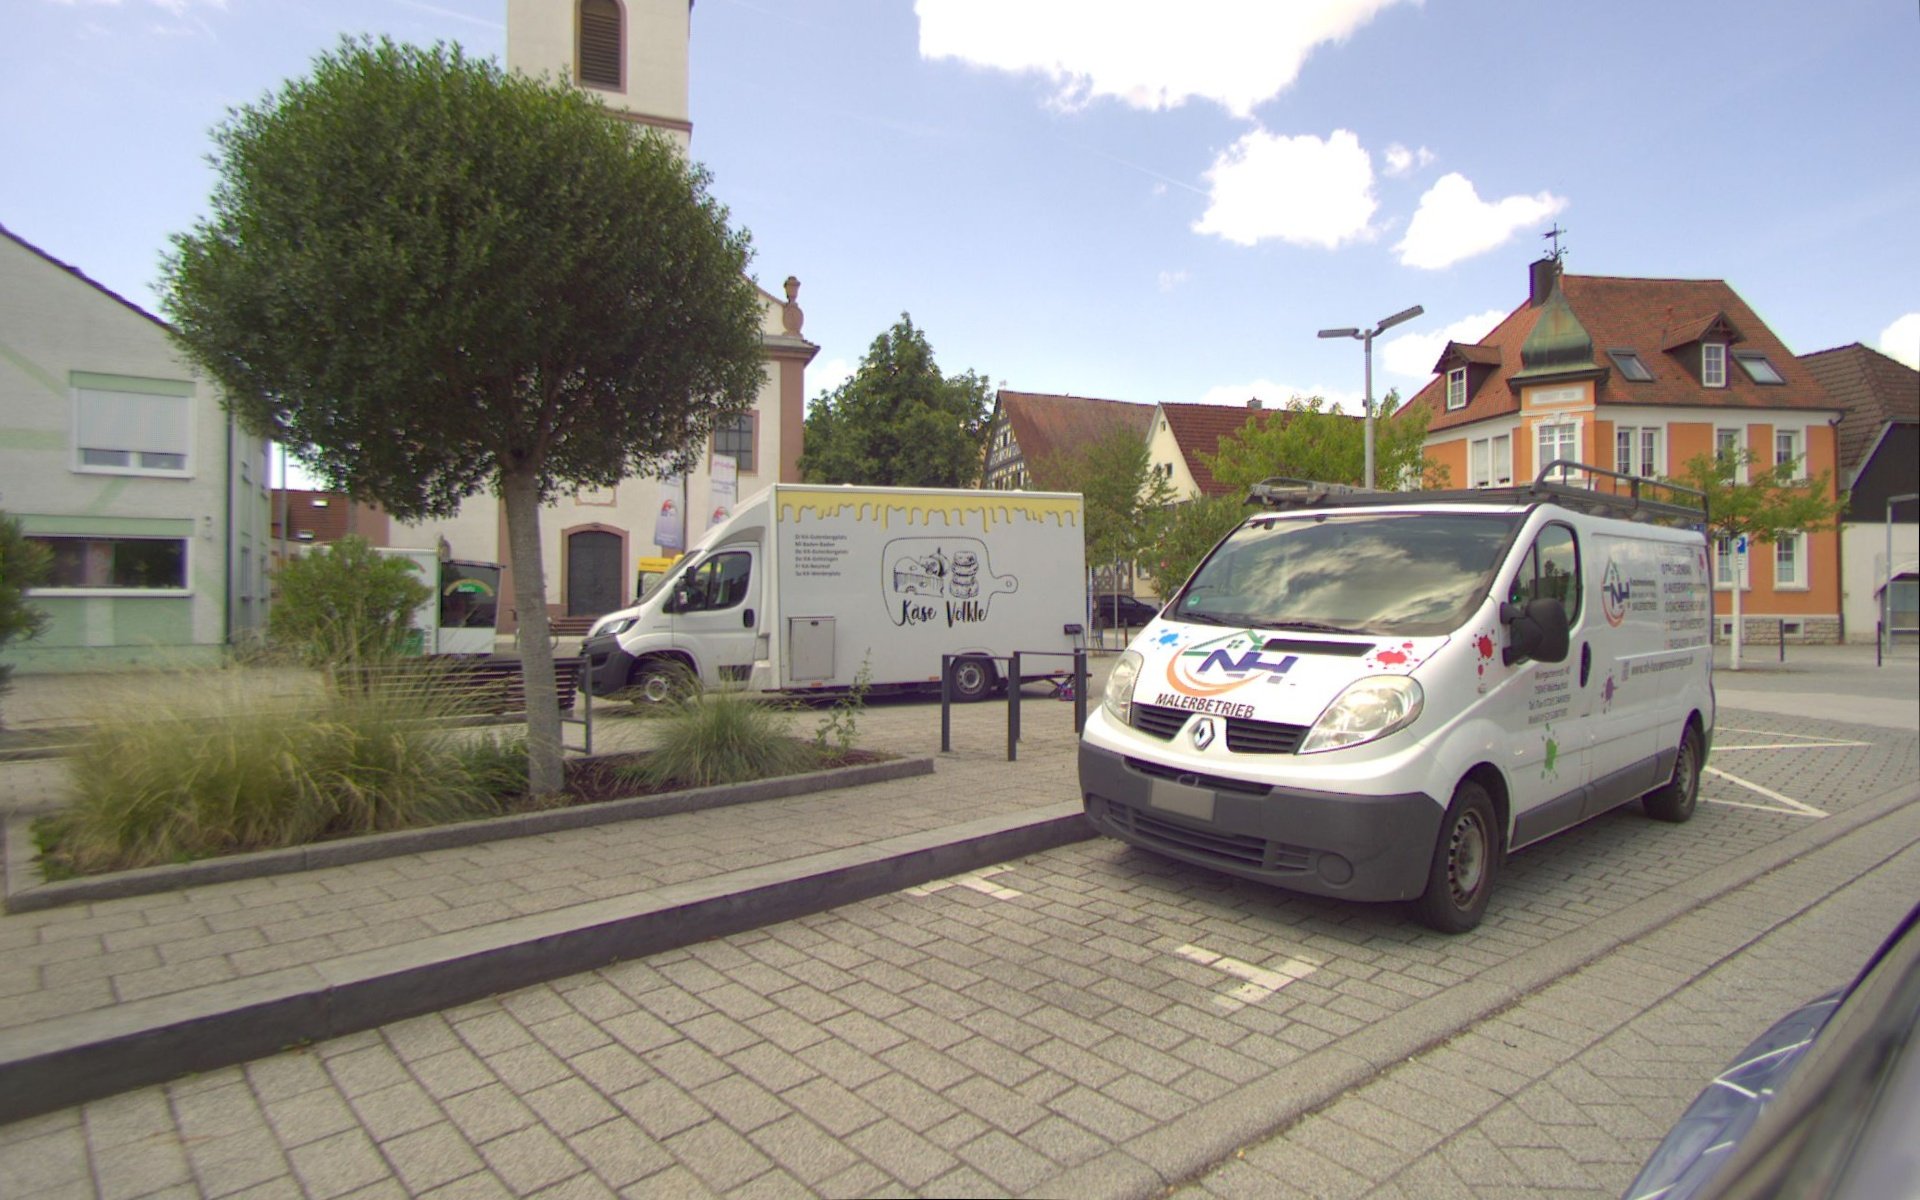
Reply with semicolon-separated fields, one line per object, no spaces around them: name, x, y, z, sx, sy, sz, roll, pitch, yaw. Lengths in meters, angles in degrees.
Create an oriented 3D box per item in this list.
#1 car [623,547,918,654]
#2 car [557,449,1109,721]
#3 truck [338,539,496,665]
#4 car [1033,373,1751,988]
car;-4.610;0.009;25.390;6.841;2.509;2.650;0;0;5
car;-1.704;-0.181;13.846;6.966;3.001;2.766;-1;-1;-24
truck;-12.943;0.012;24.058;2.898;2.529;6.832;0;0;-30
car;2.898;0.261;6.027;5.013;2.204;1.946;0;2;-42
